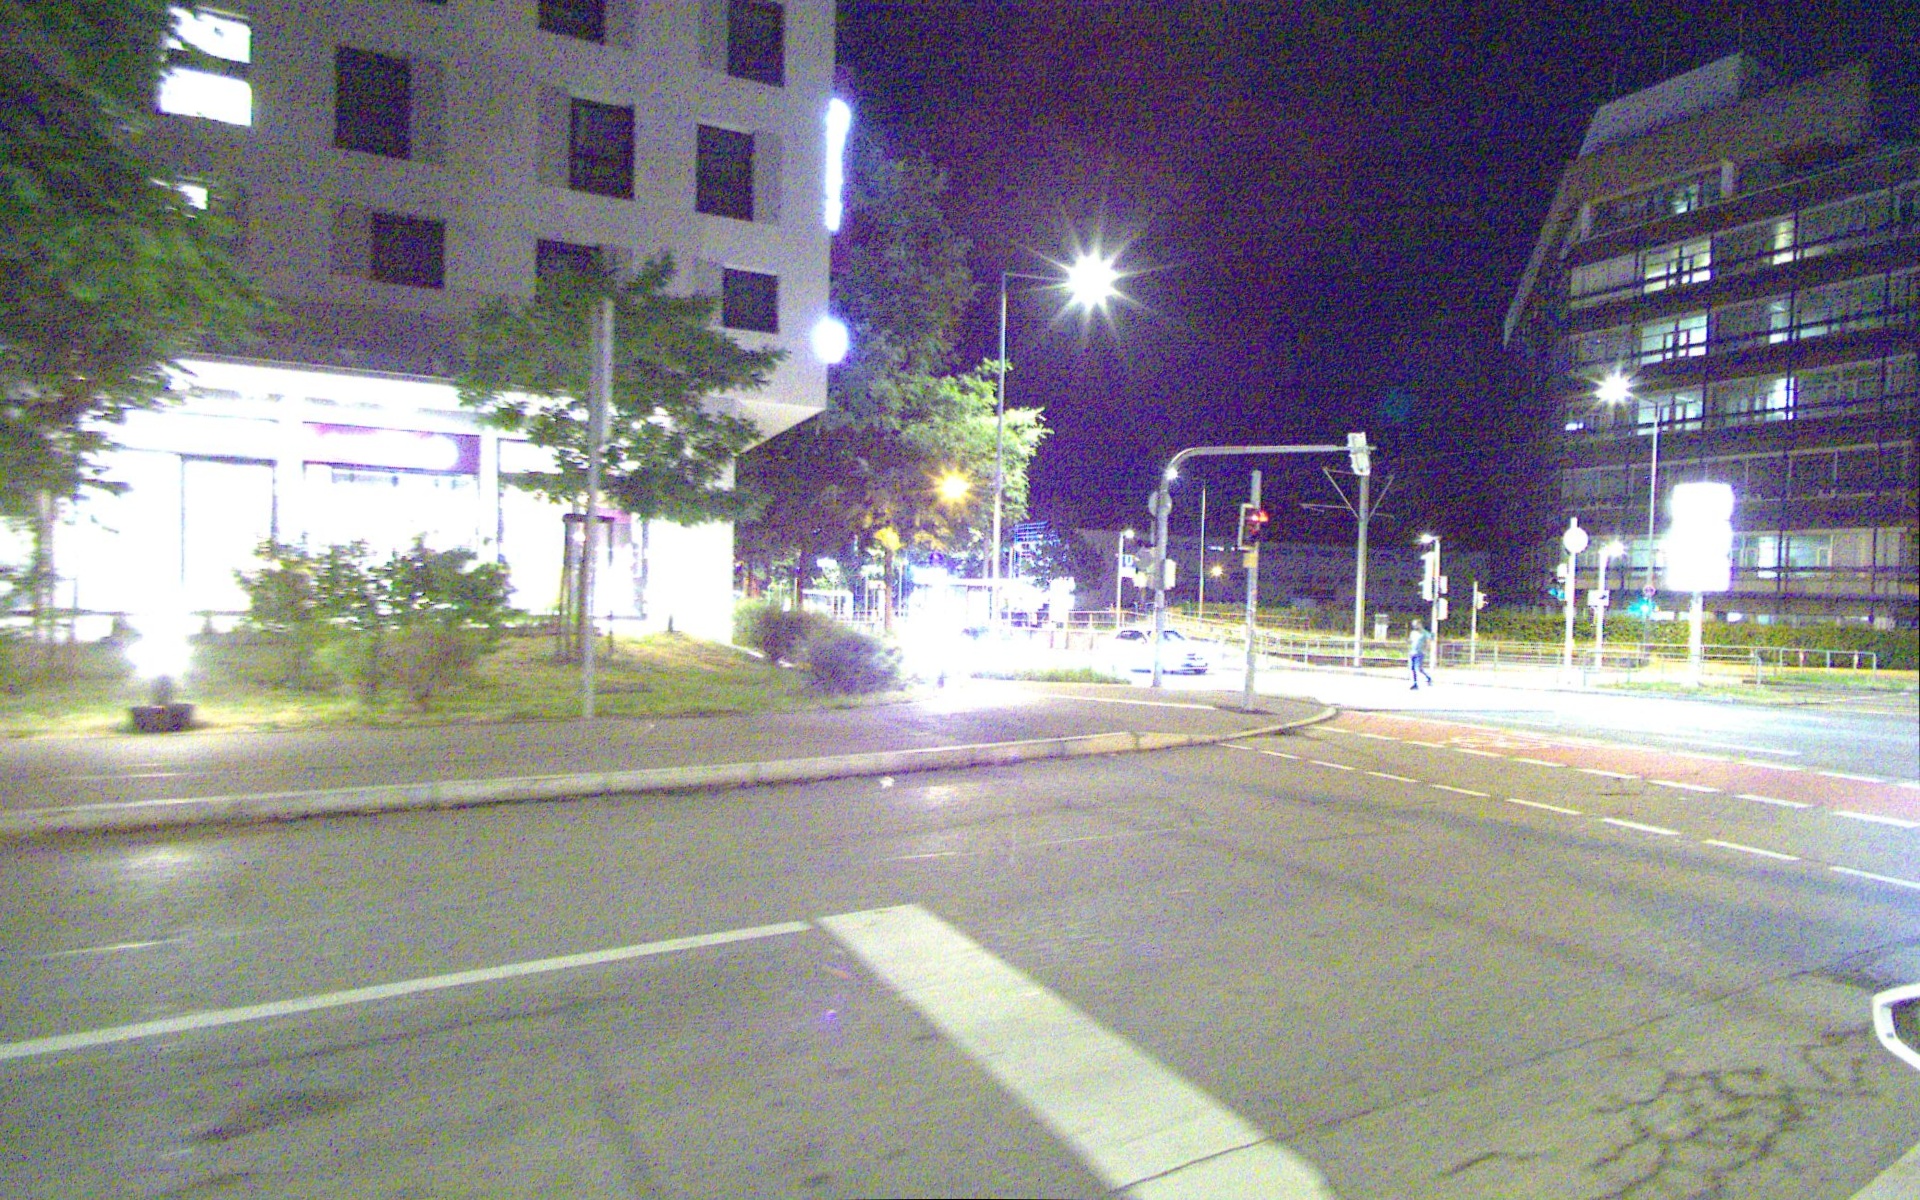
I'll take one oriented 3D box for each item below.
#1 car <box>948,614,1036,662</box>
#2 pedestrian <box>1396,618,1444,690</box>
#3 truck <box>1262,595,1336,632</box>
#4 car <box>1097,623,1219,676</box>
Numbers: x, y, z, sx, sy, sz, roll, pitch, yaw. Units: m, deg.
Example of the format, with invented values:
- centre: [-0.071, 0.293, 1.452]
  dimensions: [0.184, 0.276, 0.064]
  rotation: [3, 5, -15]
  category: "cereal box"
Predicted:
- centre: [1.072, 1.341, 36.024]
  dimensions: [1.877, 1.591, 3.984]
  rotation: [2, -2, -18]
  category: "car"
- centre: [10.926, 1.282, 23.869]
  dimensions: [0.854, 1.656, 0.665]
  rotation: [2, 0, -34]
  category: "pedestrian"
- centre: [30.102, 1.192, 89.350]
  dimensions: [2.877, 3.129, 5.873]
  rotation: [2, 0, -28]
  category: "truck"
- centre: [6.234, 1.532, 32.106]
  dimensions: [1.793, 1.522, 4.176]
  rotation: [0, -1, -24]
  category: "car"
